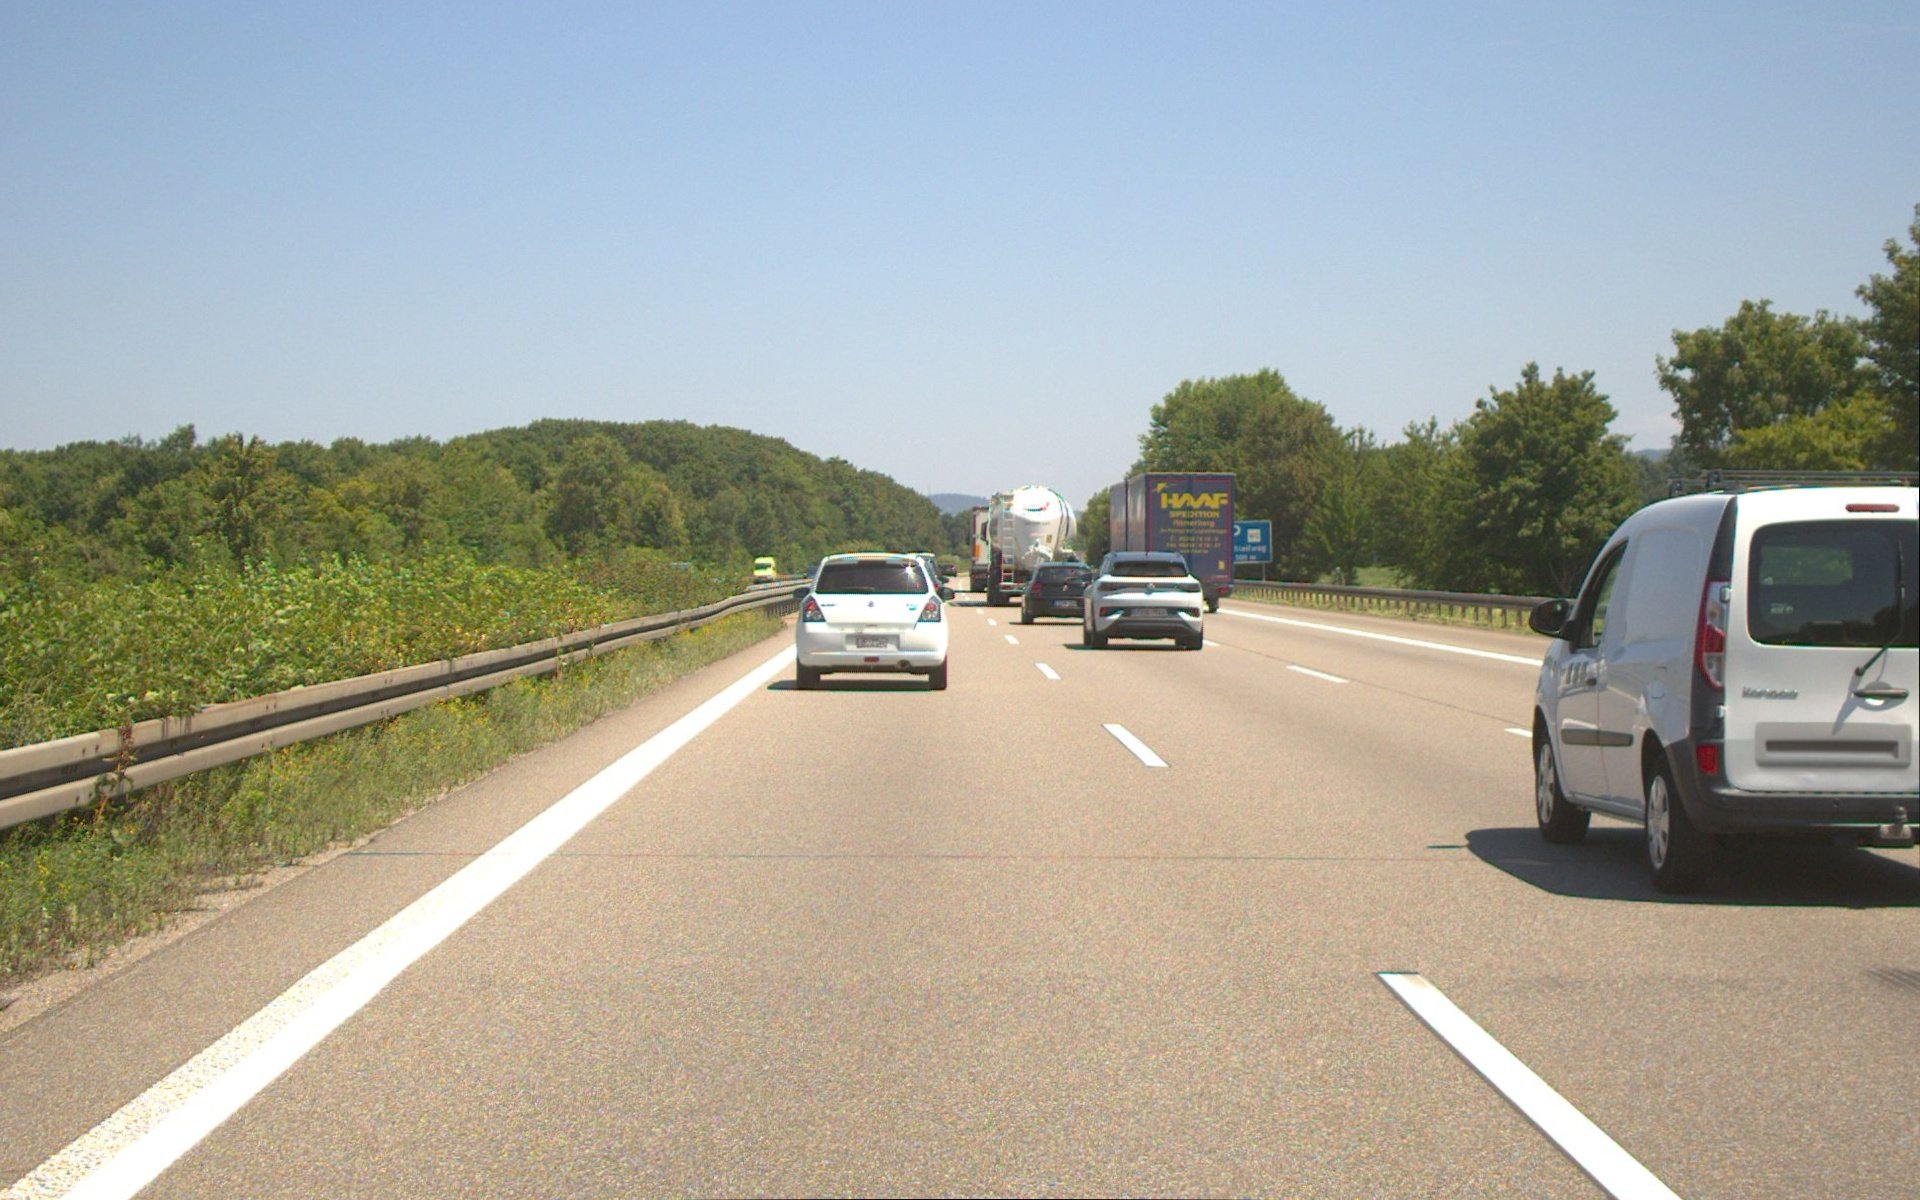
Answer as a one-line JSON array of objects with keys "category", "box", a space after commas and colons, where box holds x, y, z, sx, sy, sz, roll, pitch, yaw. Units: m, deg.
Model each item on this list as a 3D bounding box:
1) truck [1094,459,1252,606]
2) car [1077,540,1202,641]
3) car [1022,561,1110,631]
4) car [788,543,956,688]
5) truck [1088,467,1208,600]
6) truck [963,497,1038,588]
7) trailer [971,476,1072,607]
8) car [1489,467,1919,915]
[{"category": "truck", "box": [6.329, -2.020, 105.020, 3.108, 4.124, 15.513, 1, 1, -3]}, {"category": "car", "box": [2.966, -0.188, 57.590, 1.802, 1.597, 4.381, 1, 1, 0]}, {"category": "car", "box": [2.410, -0.113, 78.935, 1.850, 1.518, 3.957, 1, 1, 0]}, {"category": "car", "box": [-0.990, 0.149, 39.126, 1.799, 1.546, 3.610, 1, 1, -1]}, {"category": "truck", "box": [6.060, -2.149, 111.943, 3.108, 4.124, 8.057, 1, 1, -2]}, {"category": "truck", "box": [1.924, -2.749, 165.704, 3.394, 4.199, 12.083, 1, 1, 0]}, {"category": "trailer", "box": [1.945, -1.914, 113.899, 2.911, 4.055, 12.419, 1, 1, -1]}, {"category": "car", "box": [3.887, 0.355, 16.702, 1.853, 1.856, 4.702, 1, 1, 0]}]
